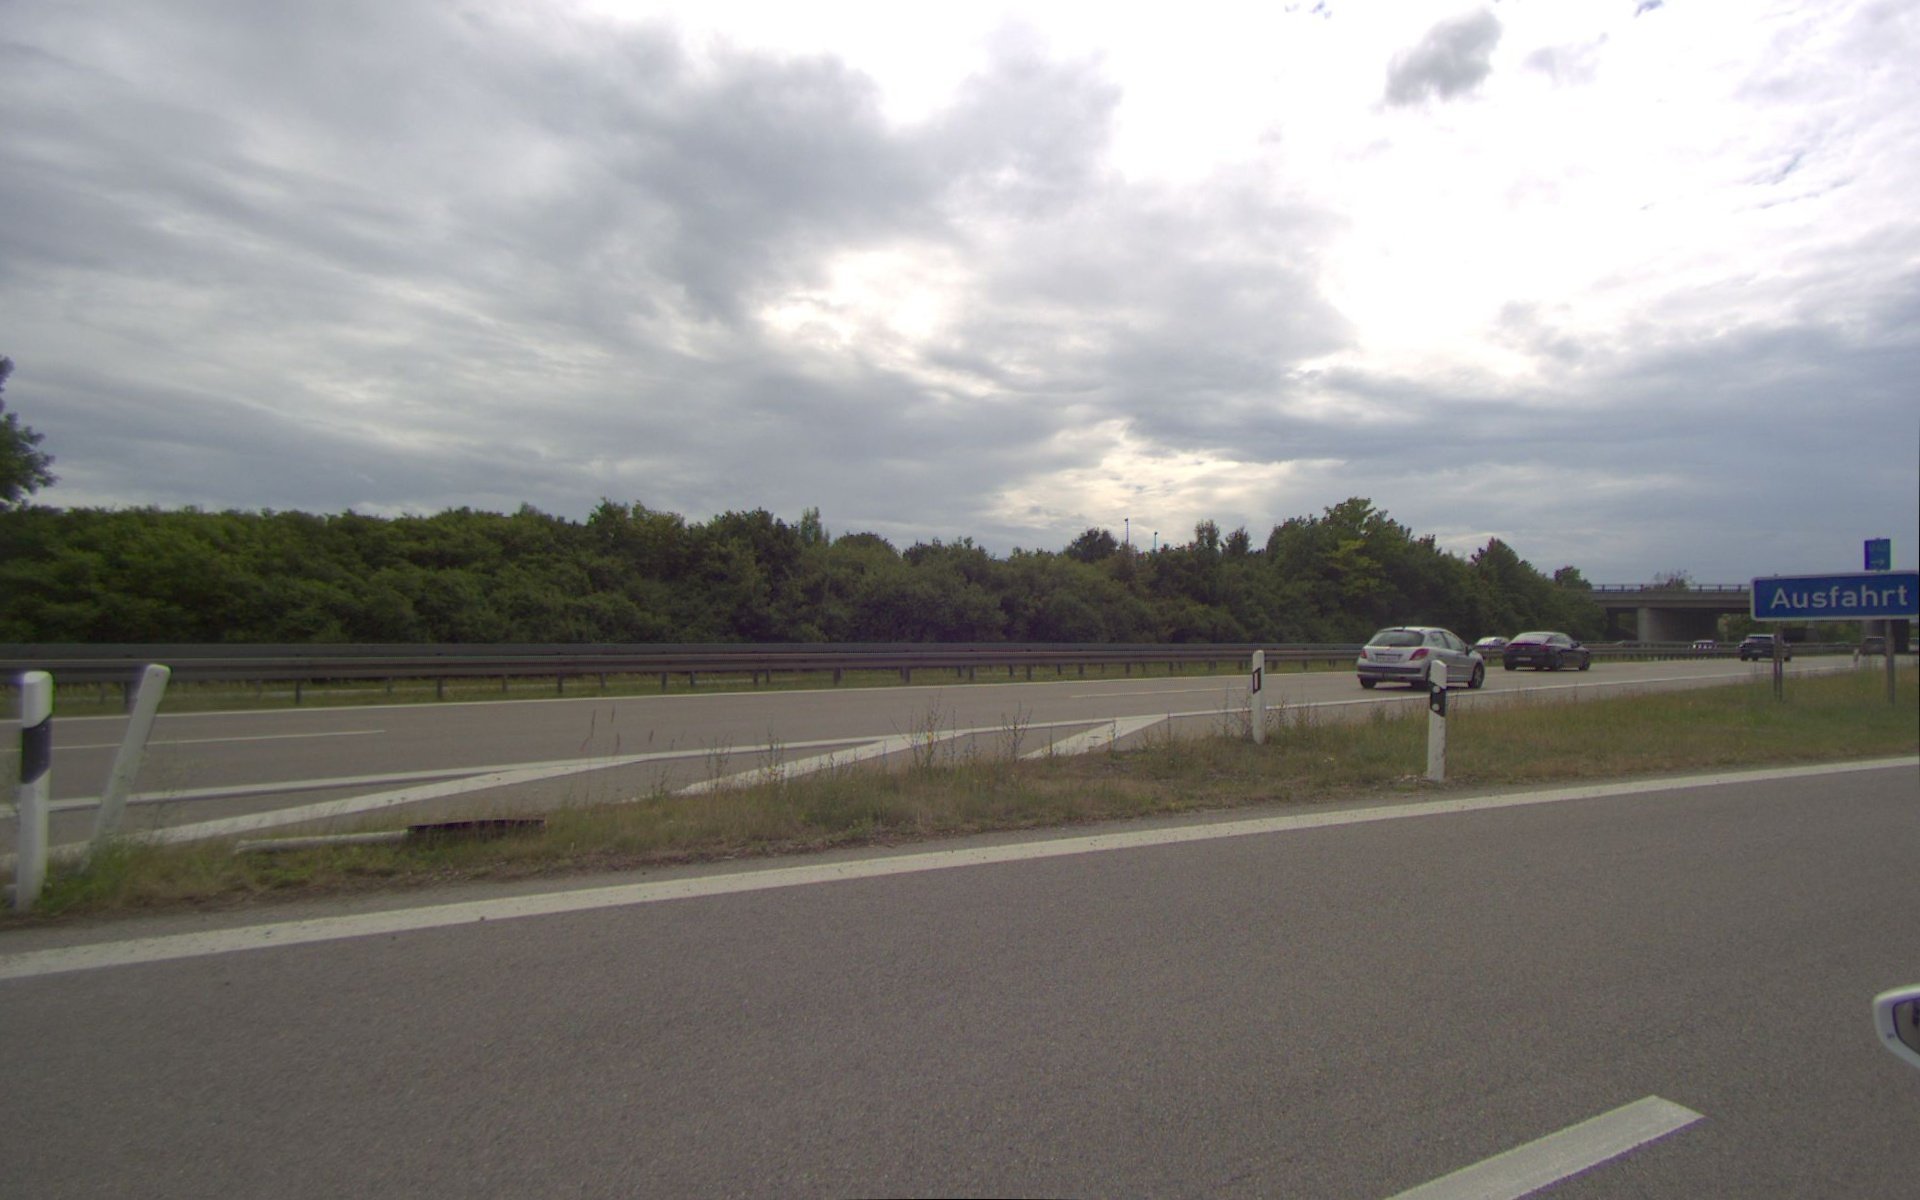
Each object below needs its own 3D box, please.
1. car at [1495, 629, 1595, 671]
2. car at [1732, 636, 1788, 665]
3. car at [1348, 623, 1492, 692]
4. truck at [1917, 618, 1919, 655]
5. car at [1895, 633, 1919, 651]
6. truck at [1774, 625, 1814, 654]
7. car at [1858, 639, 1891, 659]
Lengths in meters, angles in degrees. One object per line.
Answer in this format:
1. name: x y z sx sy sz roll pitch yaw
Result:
1. car: 23.017 1.952 39.478 4.741 1.529 1.977 2 -2 -41
2. car: 51.357 3.219 64.449 4.791 1.766 1.976 2 -3 -41
3. car: 11.204 1.346 24.357 3.968 1.539 1.702 2 -2 -41
4. truck: 93.304 3.522 95.631 7.863 3.415 2.446 3 -3 -41
5. car: 101.791 4.478 107.534 3.968 1.834 1.977 2 -2 -40
6. truck: 108.974 5.164 131.269 8.133 3.694 2.735 2 -2 -41
7. car: 85.392 4.566 93.770 4.303 1.782 1.829 2 -2 -41
